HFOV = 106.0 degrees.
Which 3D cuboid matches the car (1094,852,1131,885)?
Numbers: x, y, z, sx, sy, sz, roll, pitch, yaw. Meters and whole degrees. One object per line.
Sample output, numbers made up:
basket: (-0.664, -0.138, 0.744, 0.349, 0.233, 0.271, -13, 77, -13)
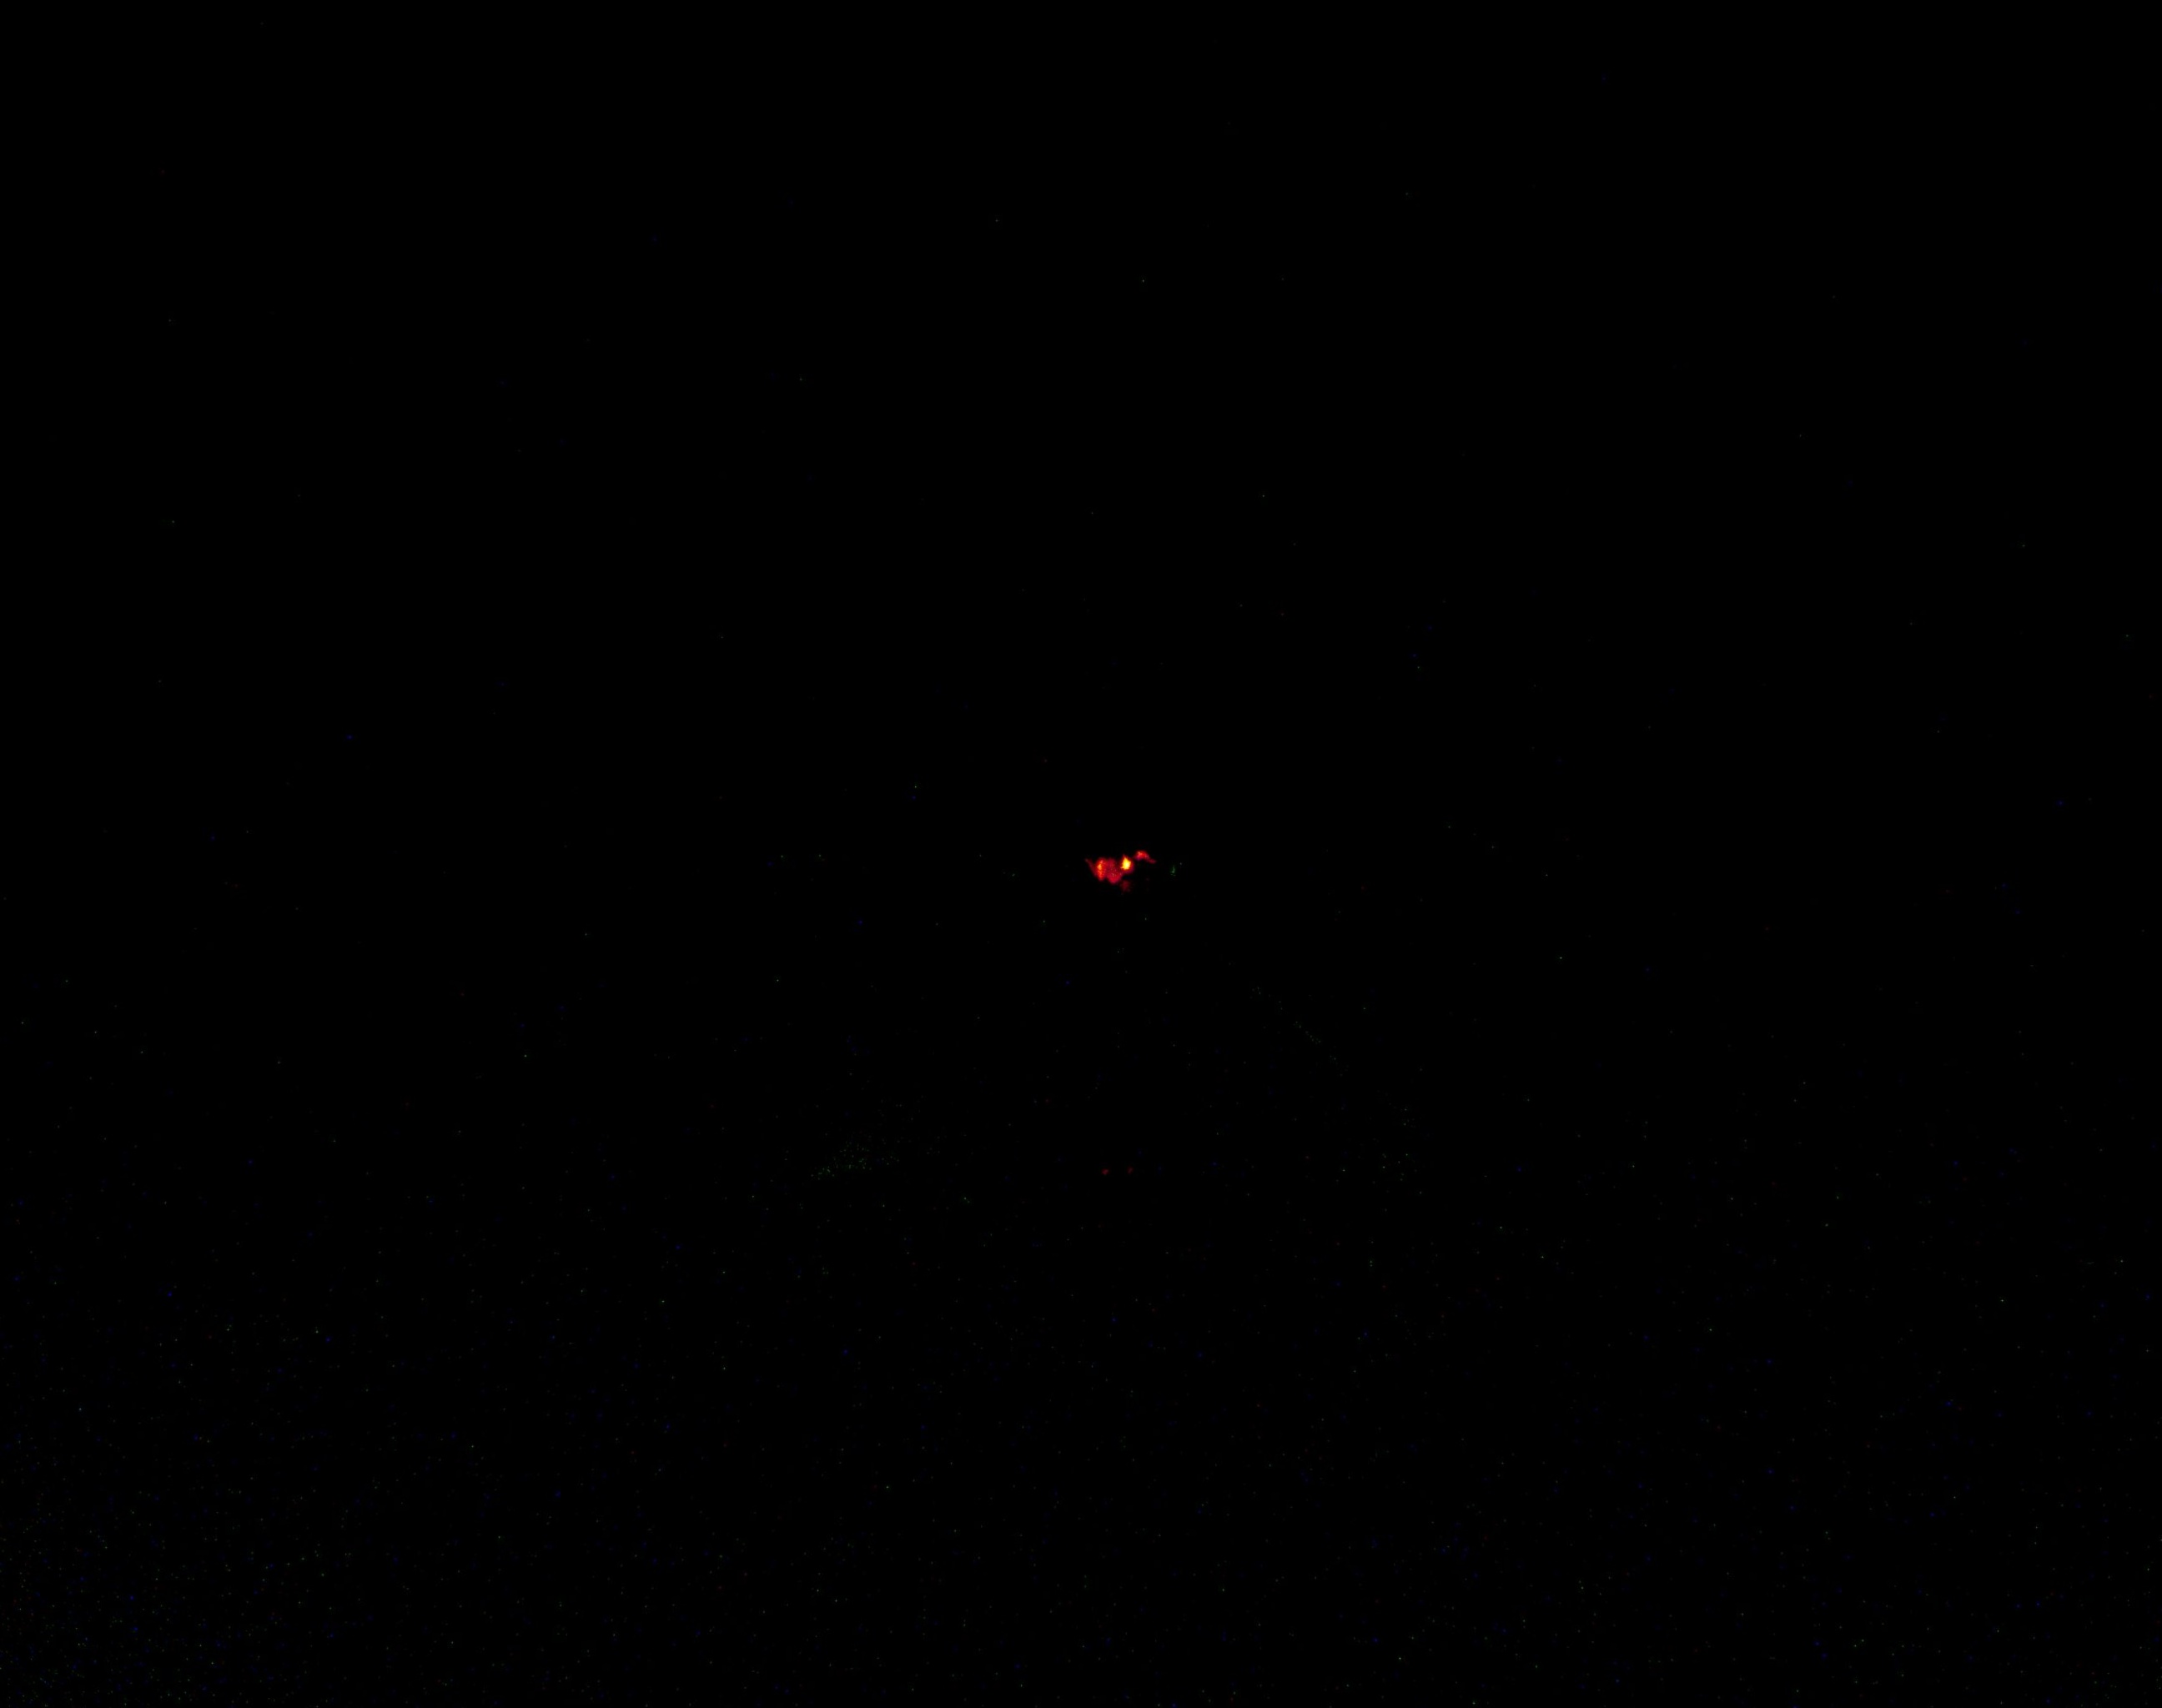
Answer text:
car: (1.789, 0.753, 45.536, 1.834, 1.740, 4.006, -1, 0, 5)
